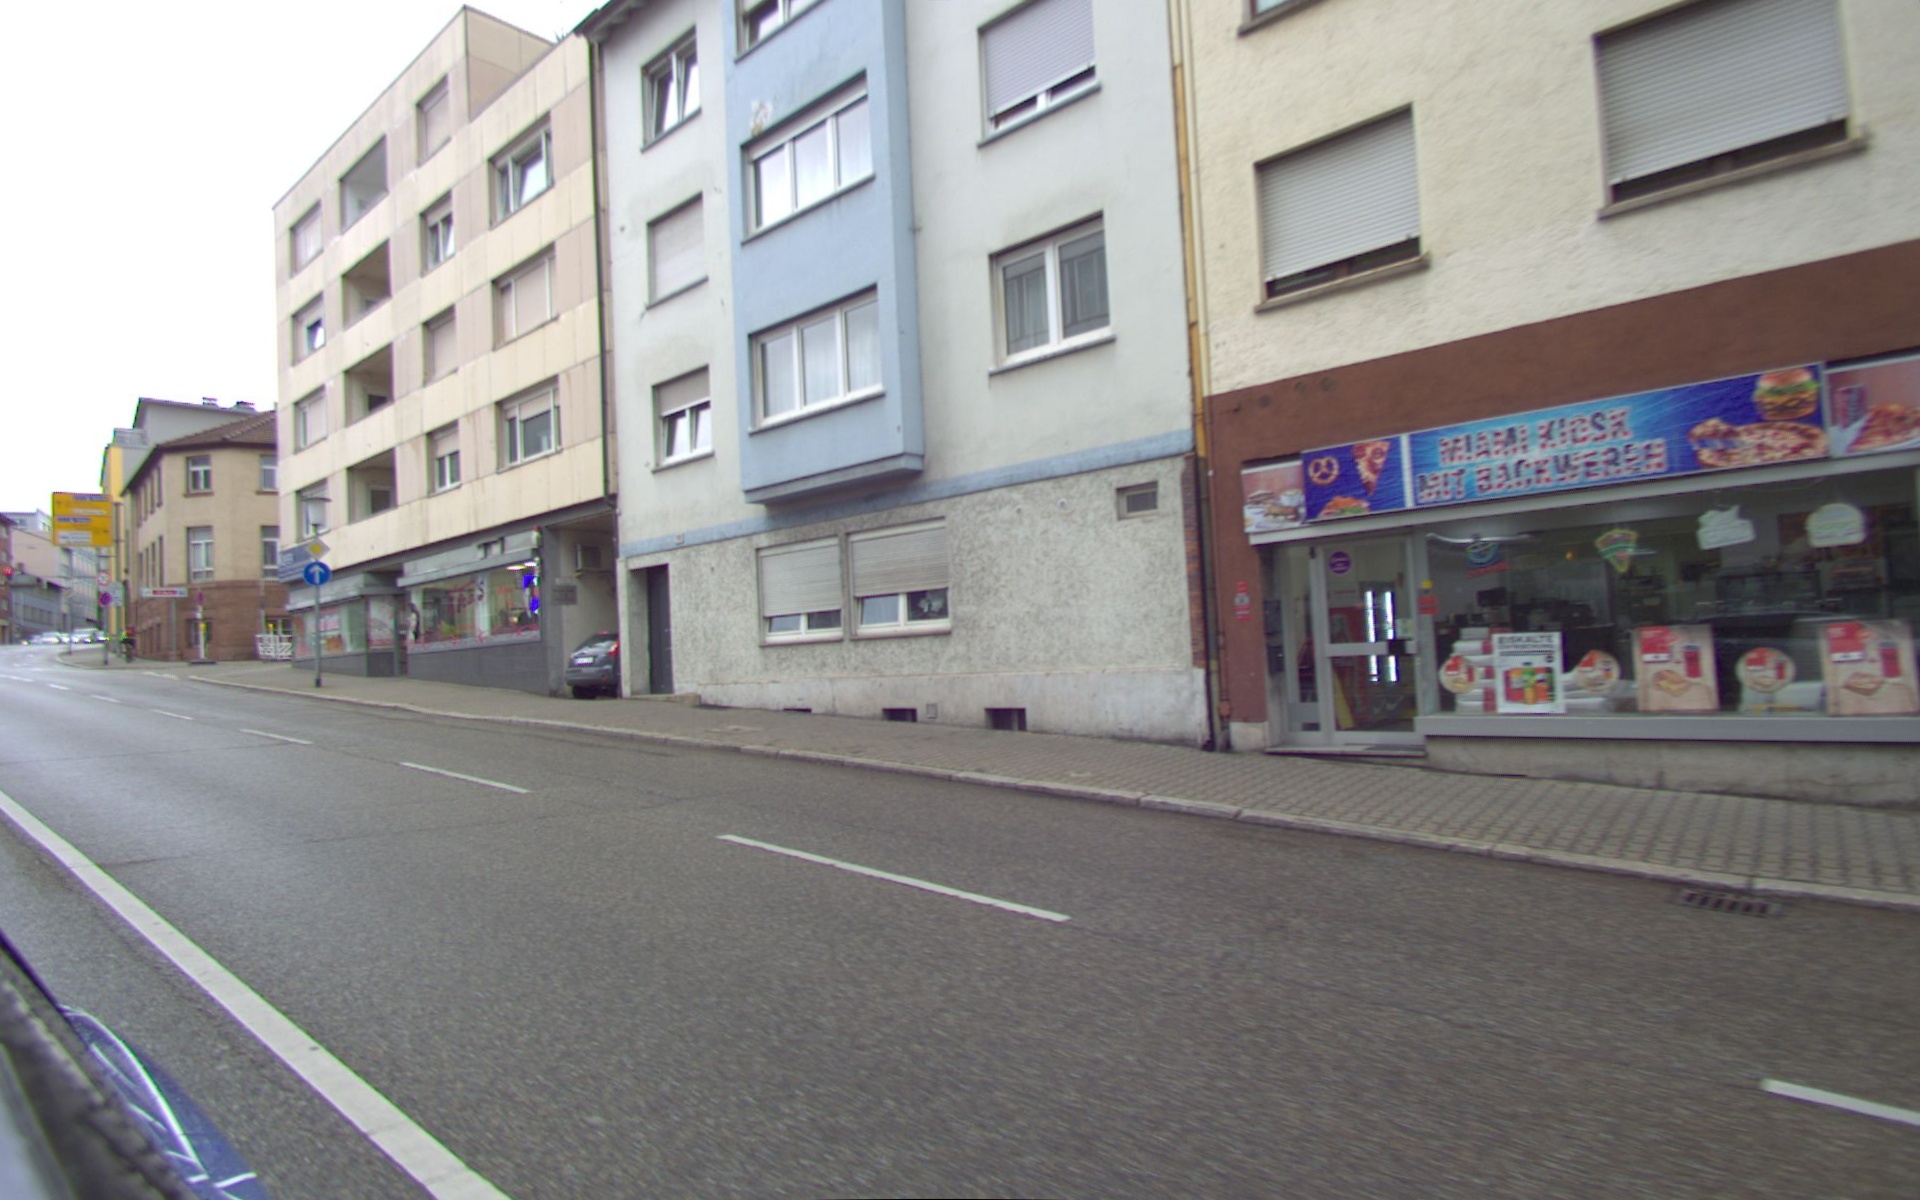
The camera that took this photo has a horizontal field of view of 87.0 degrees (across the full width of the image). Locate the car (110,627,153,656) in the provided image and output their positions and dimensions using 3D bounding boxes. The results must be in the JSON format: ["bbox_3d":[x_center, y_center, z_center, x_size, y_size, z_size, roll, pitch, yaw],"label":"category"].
[{"bbox_3d":[-47.764,2.404,58.384,1.834,1.465,3.970,-4,1,-39],"label":"car"}]

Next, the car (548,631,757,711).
[{"bbox_3d":[-6.254,1.551,21.032,1.674,1.361,3.954,-4,-9,34],"label":"car"}]
